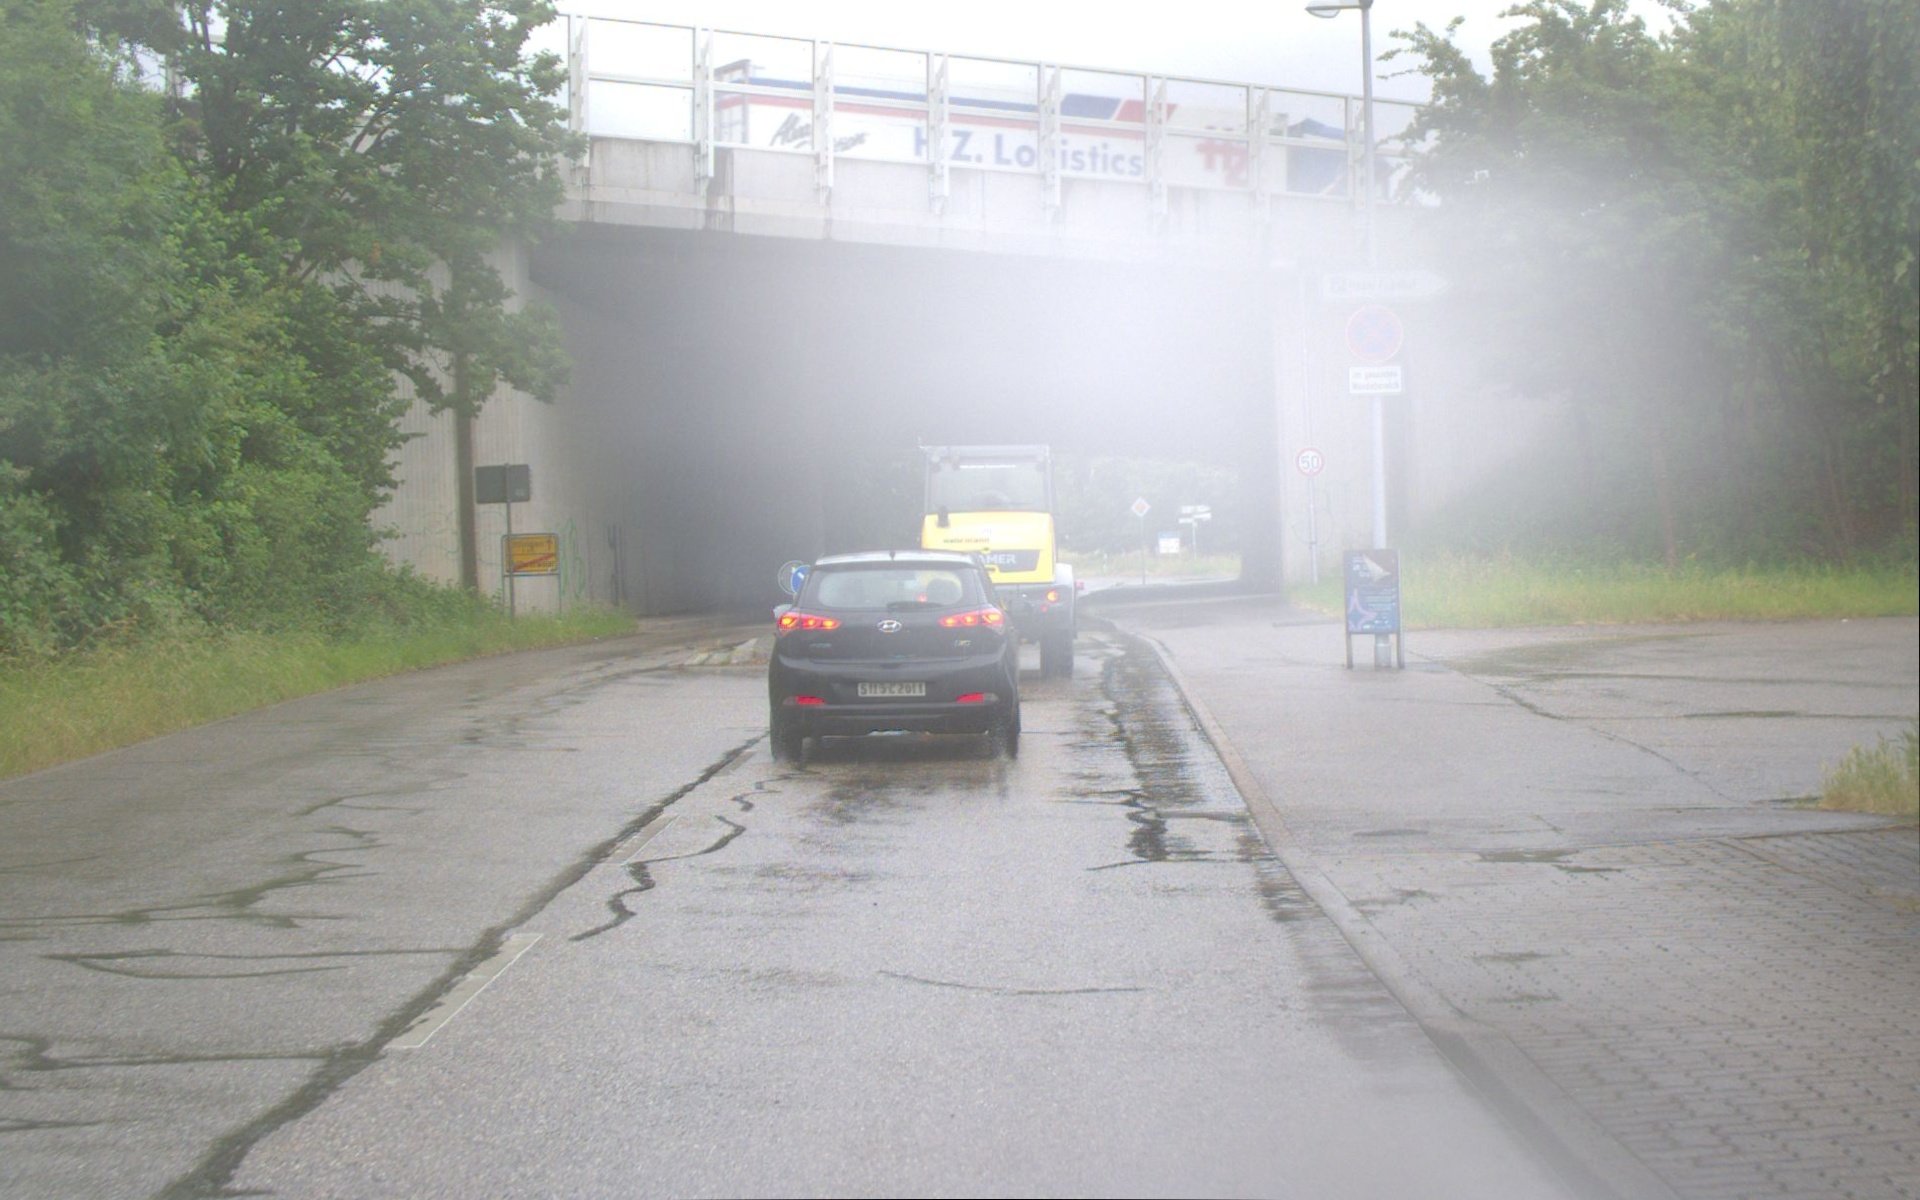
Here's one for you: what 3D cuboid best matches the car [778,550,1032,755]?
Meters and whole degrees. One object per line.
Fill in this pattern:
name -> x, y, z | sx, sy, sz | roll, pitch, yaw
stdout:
car -> -0.368, 0.335, 25.111 | 1.708, 1.373, 4.000 | 0, 1, 0

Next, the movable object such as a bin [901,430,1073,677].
movable object such as a bin -> 0.275, -0.501, 37.423 | 1.761, 2.539, 4.239 | 0, 1, 0
